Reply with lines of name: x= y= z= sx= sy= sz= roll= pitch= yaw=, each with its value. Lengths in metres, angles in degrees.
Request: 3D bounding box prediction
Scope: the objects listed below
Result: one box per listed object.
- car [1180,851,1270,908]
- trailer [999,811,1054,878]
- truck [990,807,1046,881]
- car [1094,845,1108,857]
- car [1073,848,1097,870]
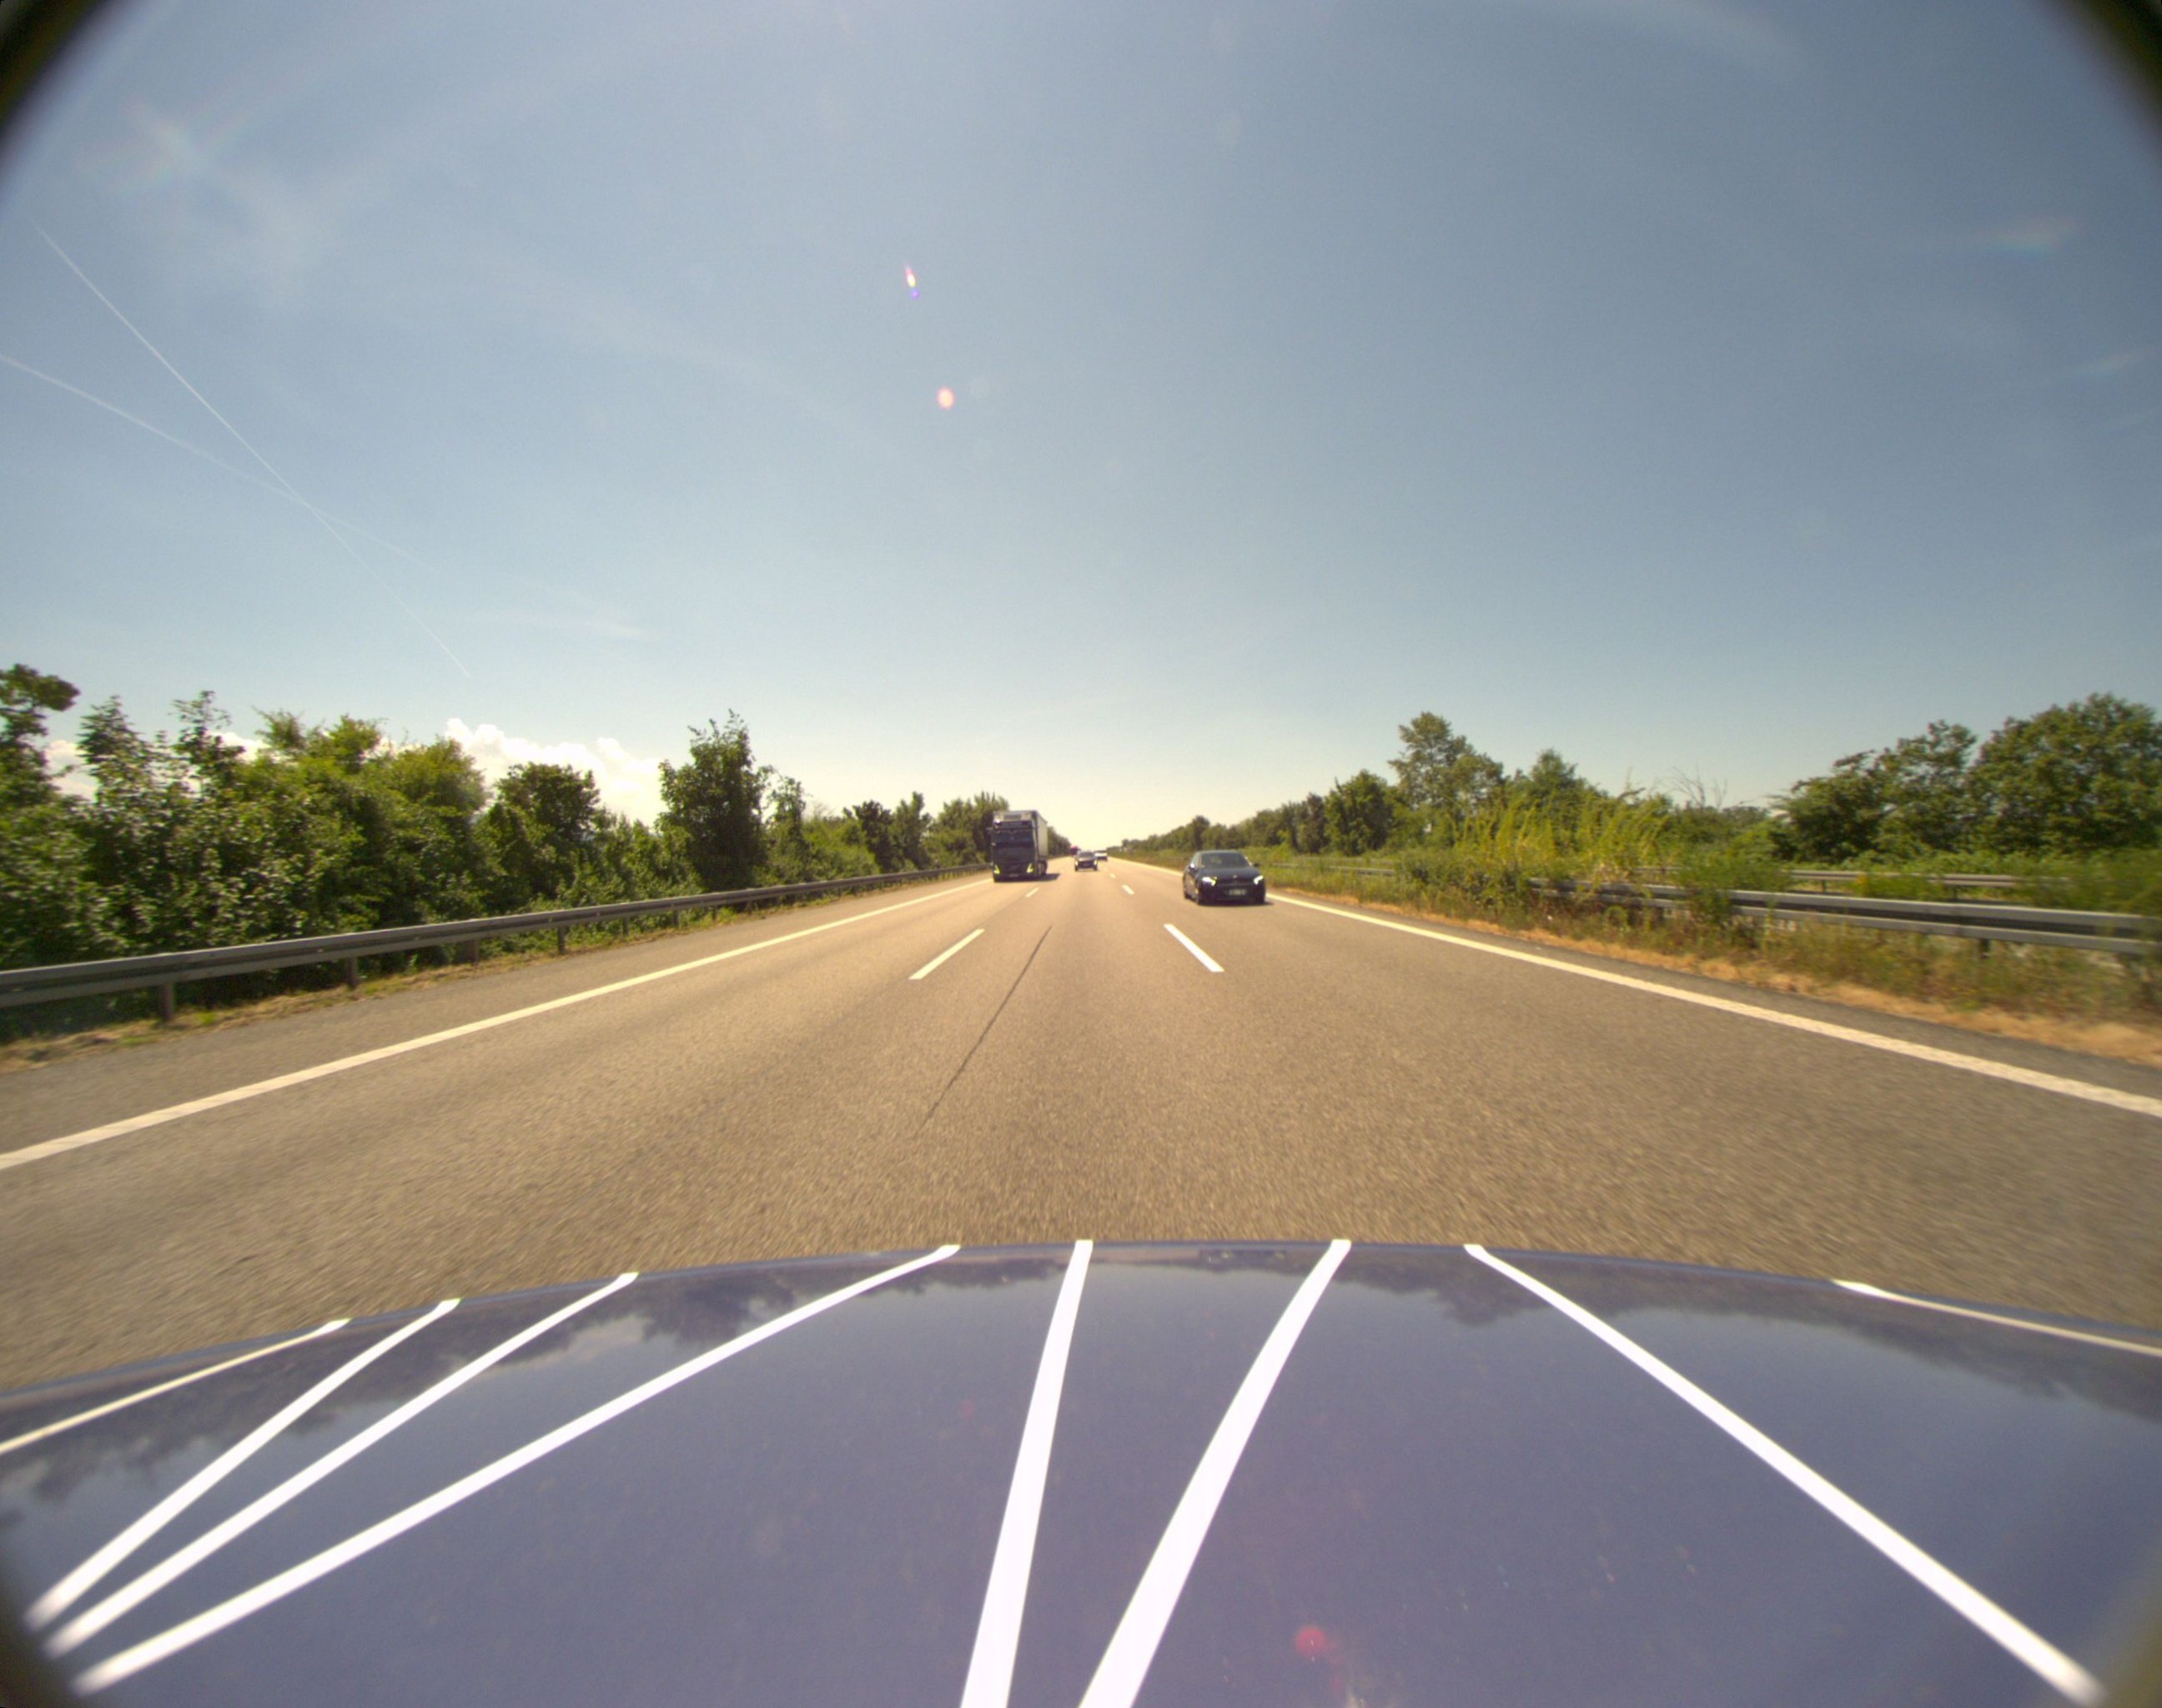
car: x=3.943 y=0.650 z=21.473 sx=1.796 sy=1.403 sz=4.052 roll=-1 pitch=1 yaw=1
trailer: x=-3.502 y=-0.613 z=52.327 sx=2.559 sy=3.931 sz=13.537 roll=-2 pitch=0 yaw=0
truck: x=-3.600 y=-0.572 z=44.840 sx=2.559 sy=3.931 sz=6.513 roll=-2 pitch=0 yaw=0
car: x=3.110 y=-0.435 z=118.951 sx=2.147 sy=1.810 sz=5.267 roll=-2 pitch=0 yaw=1
car: x=0.330 y=0.404 z=61.658 sx=1.796 sy=1.696 sz=4.000 roll=-1 pitch=1 yaw=1
